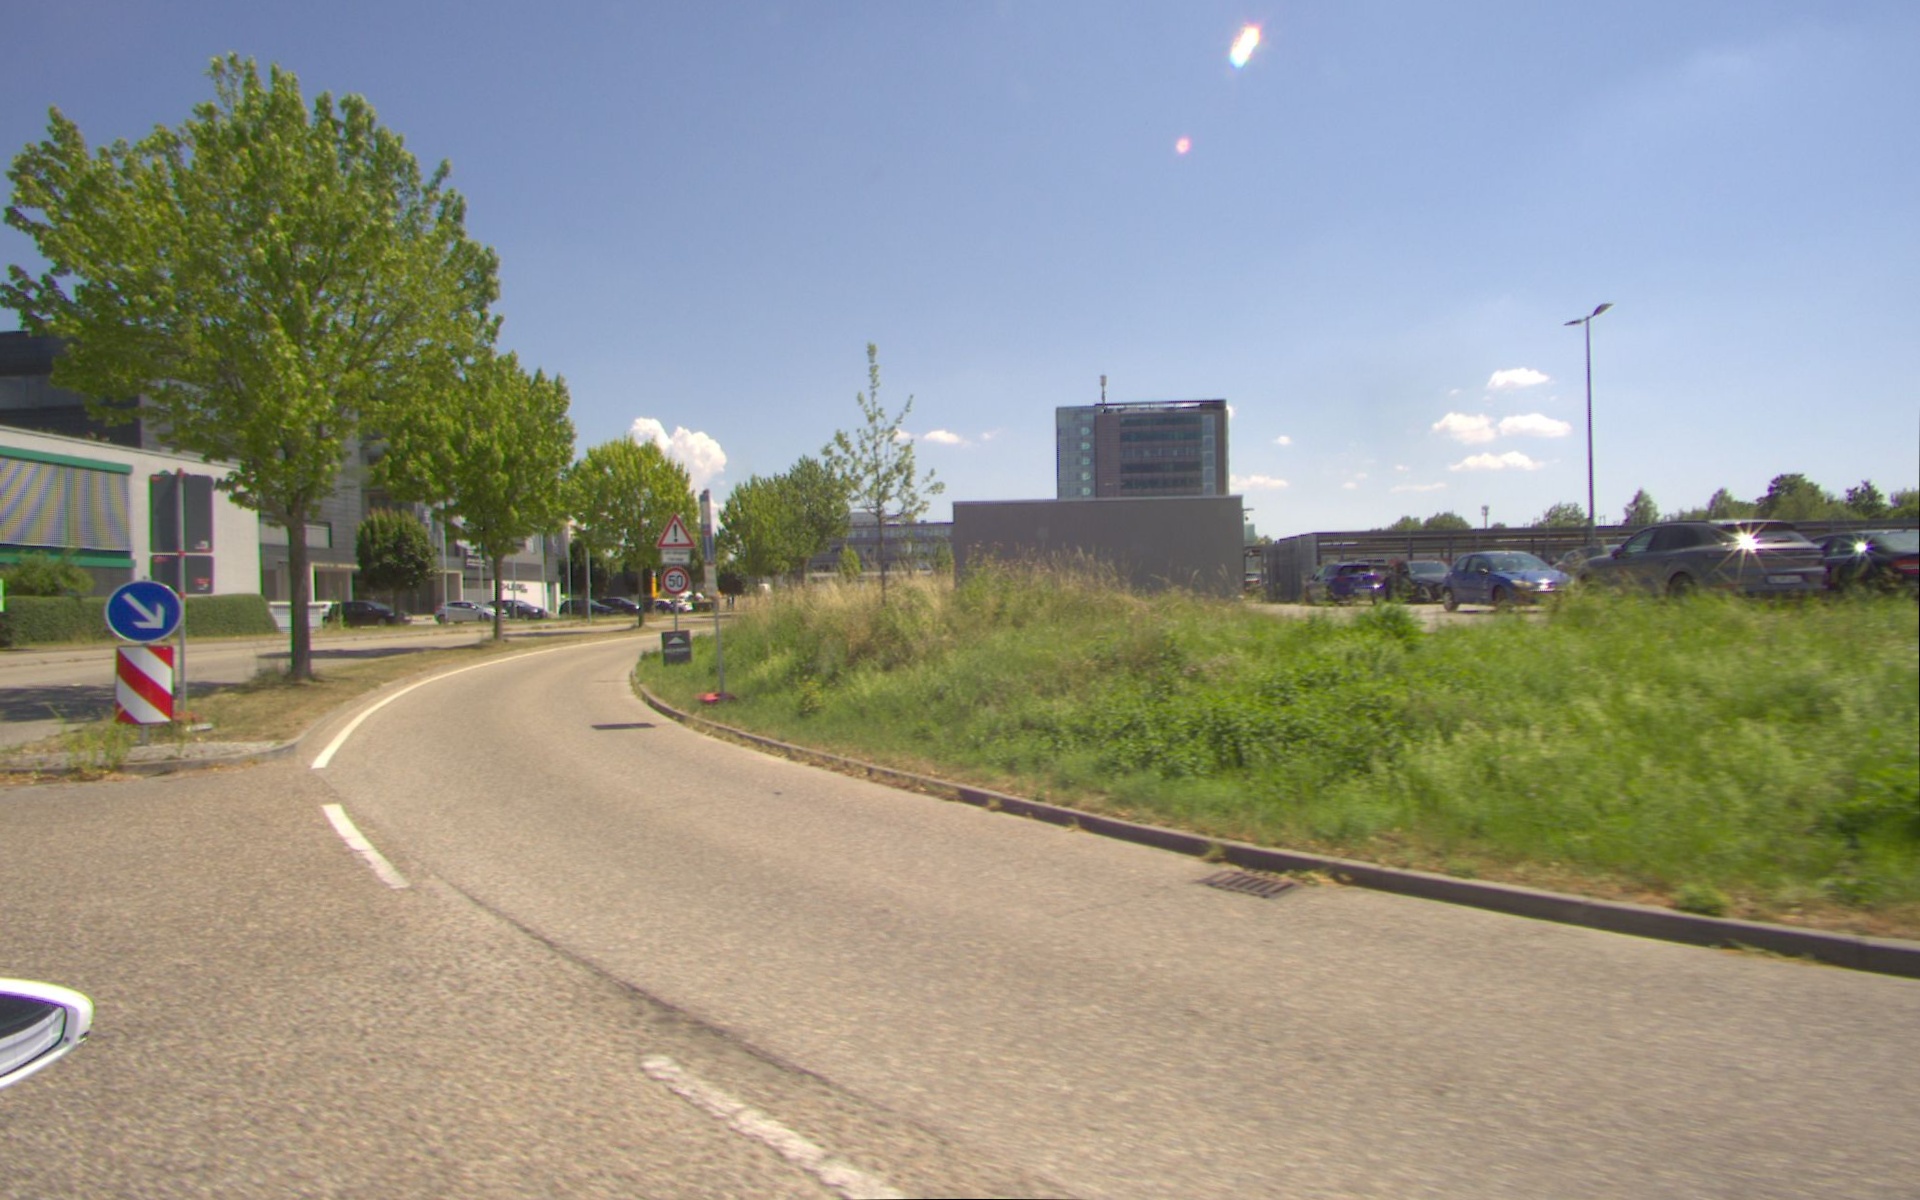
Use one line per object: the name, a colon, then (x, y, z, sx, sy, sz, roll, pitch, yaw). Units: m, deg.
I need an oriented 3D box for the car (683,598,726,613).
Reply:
car: (-25.329, 0.547, 99.249, 3.769, 1.291, 1.609, -2, 1, 4)

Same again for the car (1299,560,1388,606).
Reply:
car: (12.991, -0.563, 34.093, 1.556, 1.429, 3.474, -2, 1, -3)

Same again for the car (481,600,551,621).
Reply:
car: (-29.160, 0.672, 65.784, 3.817, 1.198, 1.704, -2, 1, 4)

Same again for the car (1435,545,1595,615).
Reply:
car: (12.935, -0.458, 23.592, 1.621, 1.465, 3.638, -2, 1, -3)

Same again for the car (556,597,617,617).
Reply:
car: (-28.012, 0.526, 75.162, 3.817, 1.291, 1.704, -2, 1, 4)

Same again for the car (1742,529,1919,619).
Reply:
car: (15.715, -0.466, 17.245, 1.621, 1.381, 3.847, -2, 1, 3)

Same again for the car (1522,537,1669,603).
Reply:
car: (16.109, -0.740, 25.584, 1.567, 1.519, 3.638, -2, 1, 3)

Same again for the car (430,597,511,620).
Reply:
car: (-29.602, 0.527, 60.648, 4.194, 1.197, 1.494, -2, -2, 4)

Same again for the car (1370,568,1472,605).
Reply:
car: (15.516, -0.441, 33.877, 1.539, 1.100, 3.745, -3, 1, -3)

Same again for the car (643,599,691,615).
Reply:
car: (-26.817, 0.670, 91.571, 3.817, 1.291, 1.704, -2, 1, 4)

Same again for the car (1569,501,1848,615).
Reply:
car: (13.149, -0.625, 18.024, 1.742, 1.712, 4.606, -1, -2, 3)

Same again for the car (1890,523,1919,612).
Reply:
car: (18.360, -0.595, 17.070, 1.735, 1.619, 3.638, -2, 1, 3)

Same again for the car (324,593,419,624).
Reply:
car: (-29.903, 0.418, 50.933, 3.842, 1.398, 1.704, -2, 1, 4)
